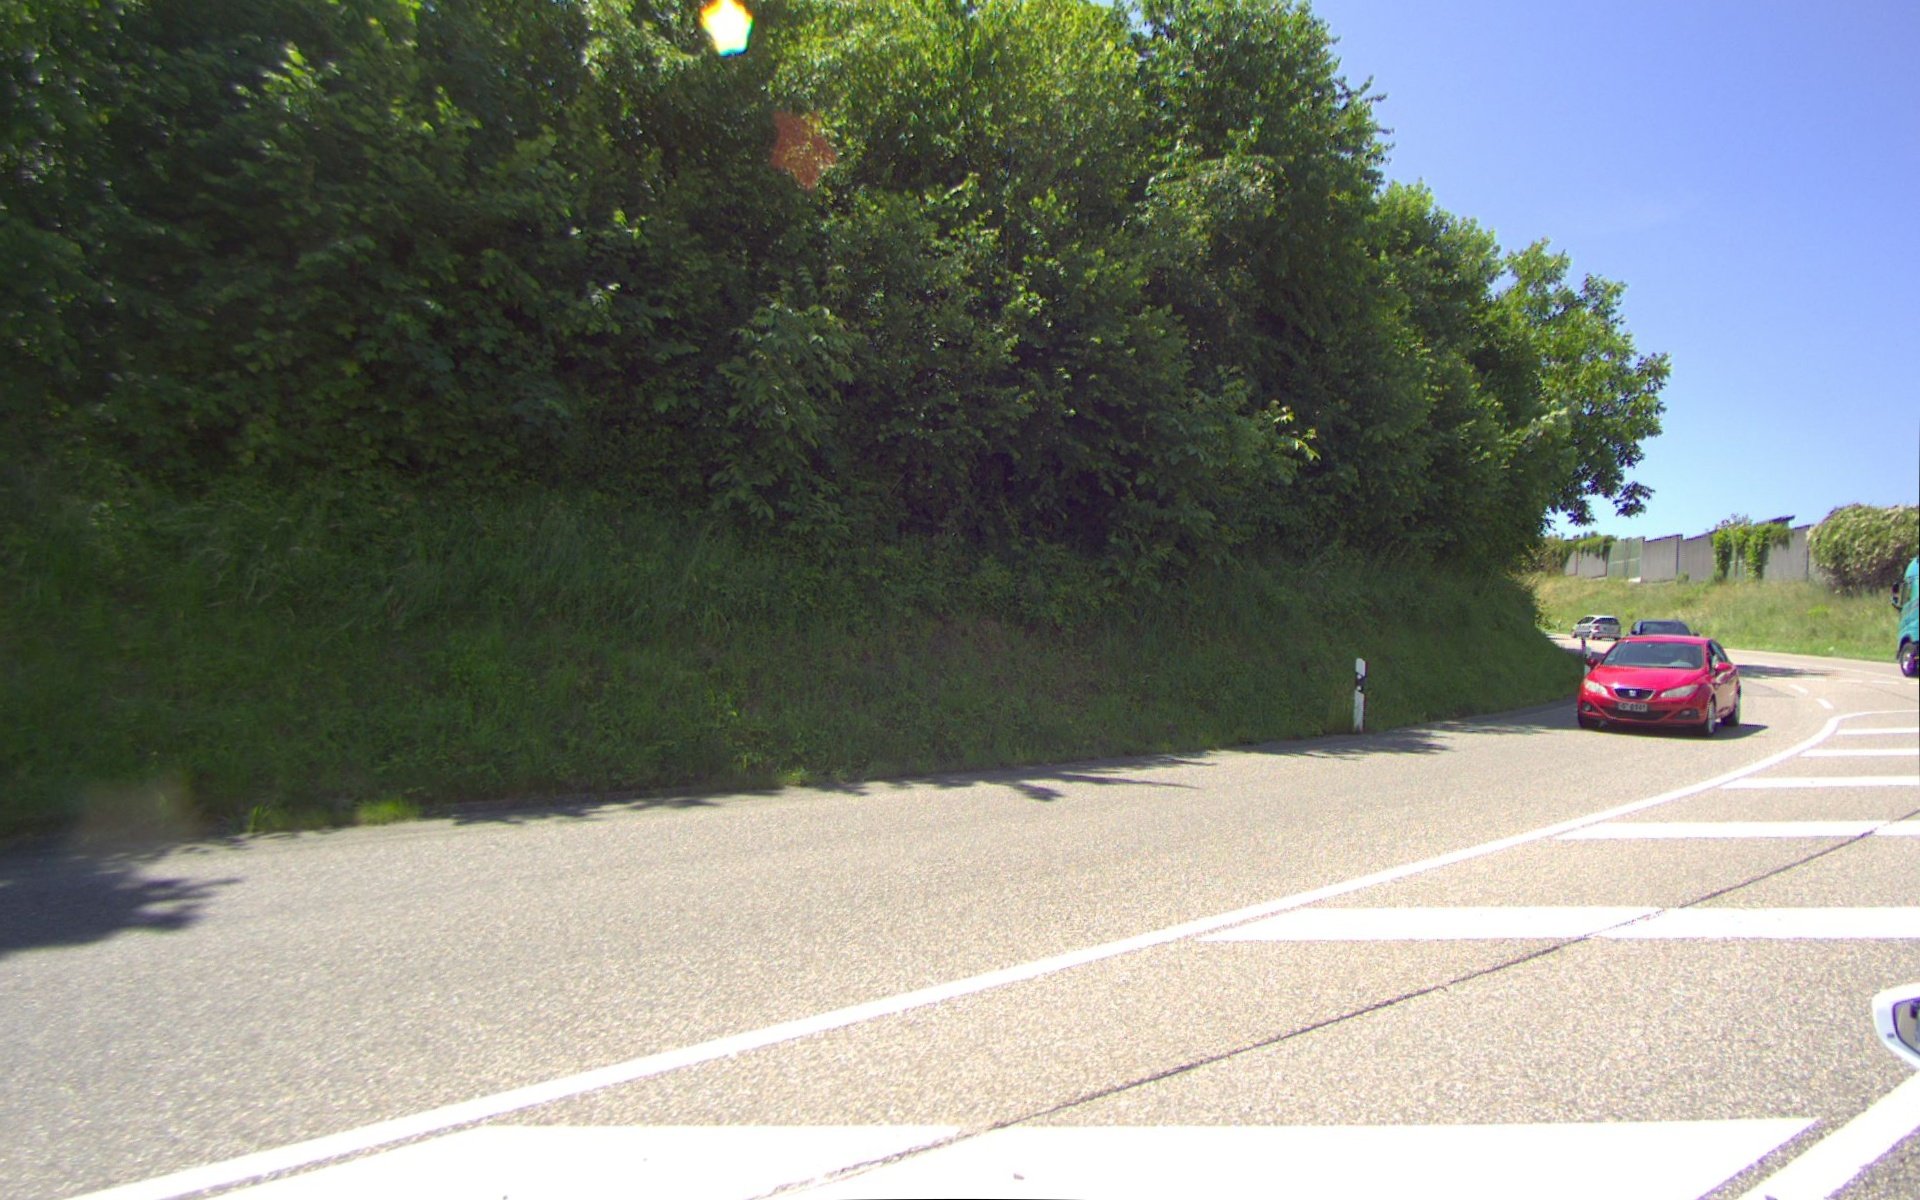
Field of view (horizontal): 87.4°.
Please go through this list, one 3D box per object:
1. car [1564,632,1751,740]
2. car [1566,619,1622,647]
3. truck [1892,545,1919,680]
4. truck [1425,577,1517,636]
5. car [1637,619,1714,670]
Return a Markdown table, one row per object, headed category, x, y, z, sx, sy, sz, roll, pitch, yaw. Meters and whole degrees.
| category | x | y | z | sx | sy | sz | roll | pitch | yaw |
| --- | --- | --- | --- | --- | --- | --- | --- | --- | --- |
| car | 11.062 | 1.245 | 15.838 | 3.974 | 1.467 | 1.732 | 2 | -2 | -45 |
| car | 40.346 | 2.090 | 64.024 | 1.620 | 1.529 | 3.640 | 4 | 1 | 9 |
| truck | 29.169 | 0.355 | 28.382 | 2.688 | 3.982 | 7.248 | 0 | -1 | 31 |
| truck | 43.290 | 0.381 | 85.577 | 3.136 | 4.367 | 11.804 | 4 | 2 | 9 |
| car | 25.097 | 1.506 | 35.362 | 1.765 | 1.626 | 4.172 | 0 | 0 | 29 |
